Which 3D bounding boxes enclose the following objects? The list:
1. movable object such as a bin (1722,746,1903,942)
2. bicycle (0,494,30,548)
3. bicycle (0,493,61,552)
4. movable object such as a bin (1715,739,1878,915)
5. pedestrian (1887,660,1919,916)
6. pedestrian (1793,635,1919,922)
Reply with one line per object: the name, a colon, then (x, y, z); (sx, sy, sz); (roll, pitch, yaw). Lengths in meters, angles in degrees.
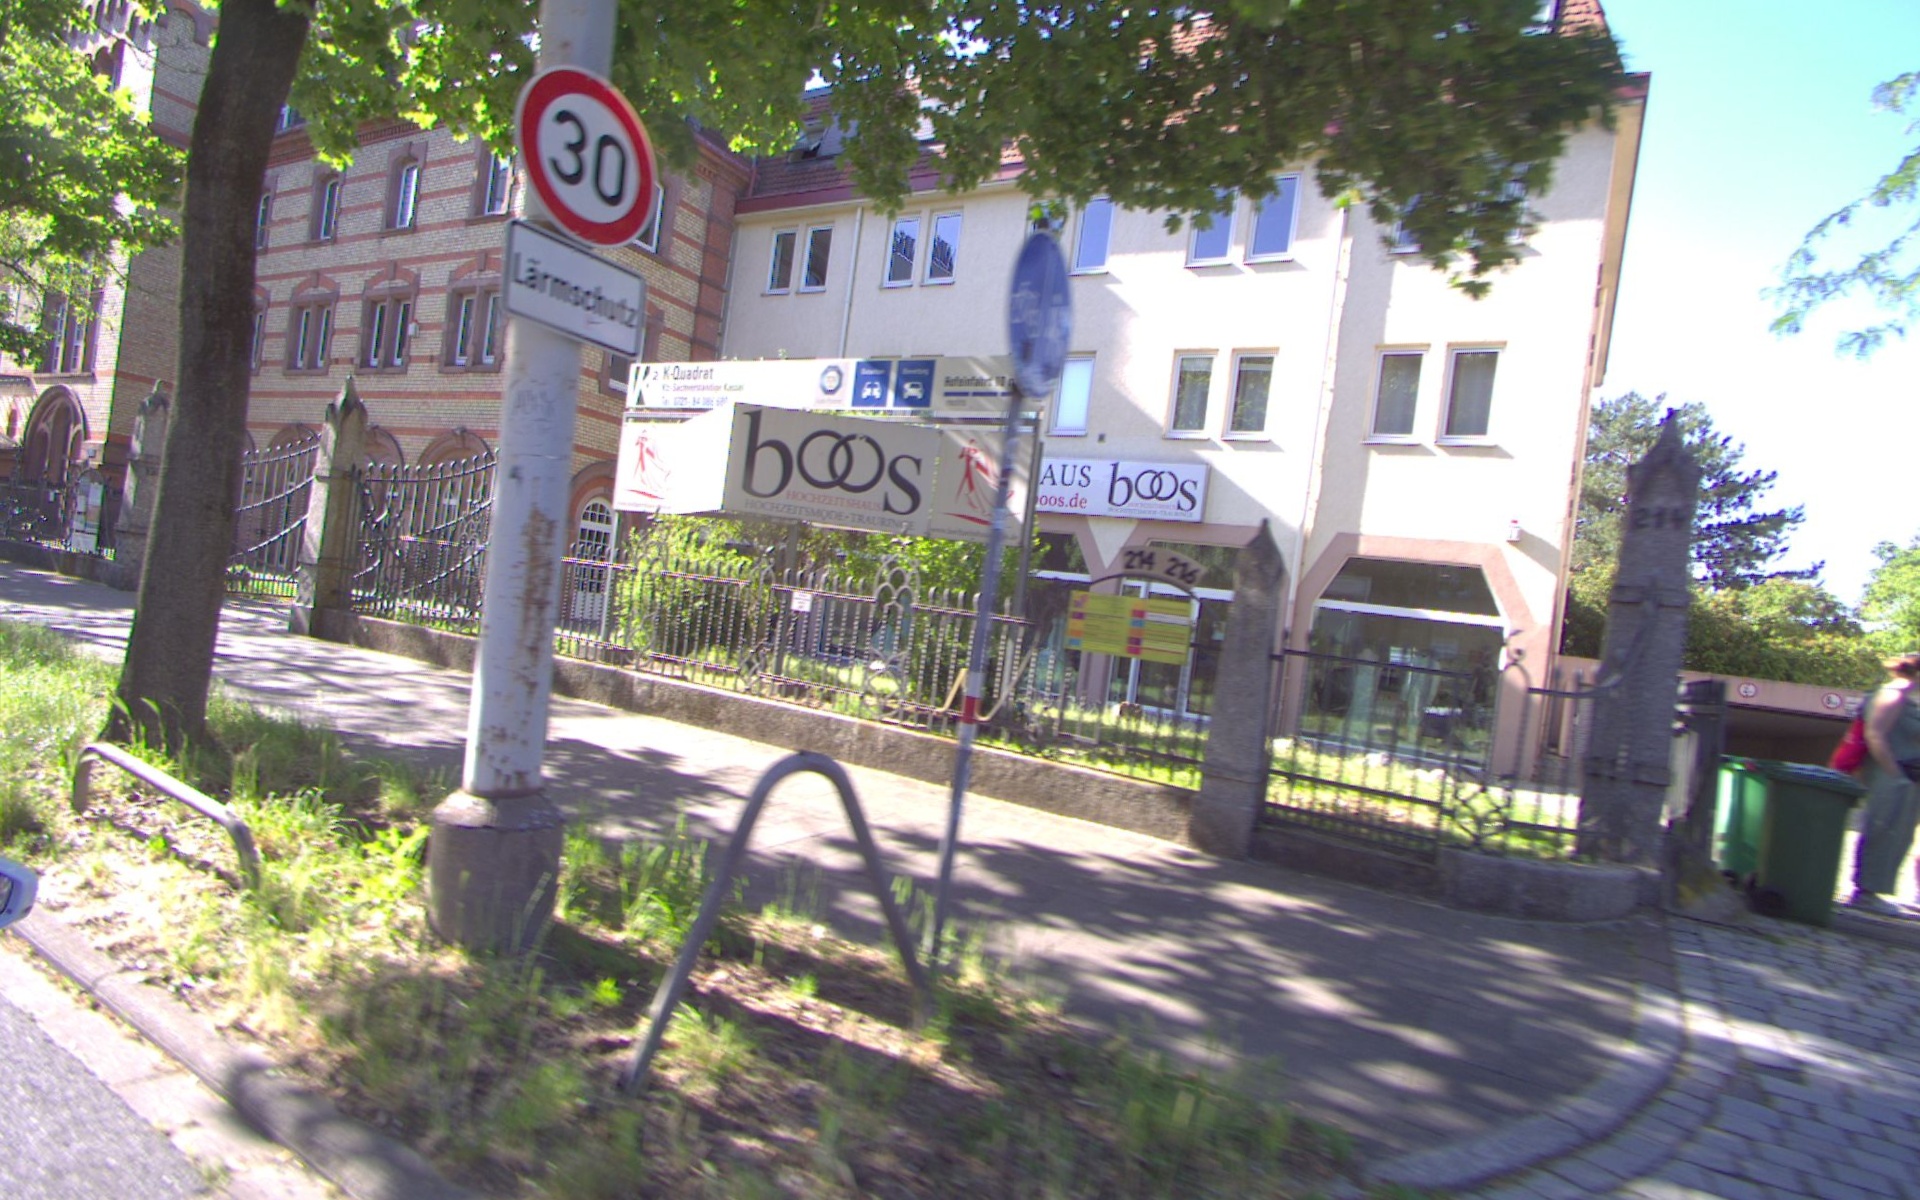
movable object such as a bin: (5.228, 1.468, 6.216); (0.656, 0.978, 0.625); (7, 2, 30)
bicycle: (-23.118, -1.970, 23.239); (0.675, 1.192, 2.203); (6, -2, 25)
bicycle: (-21.978, -1.840, 22.813); (0.675, 1.192, 2.203); (6, -2, 25)
movable object such as a bin: (5.629, 1.500, 6.812); (0.656, 0.978, 0.625); (7, 2, 30)
pedestrian: (6.848, 1.295, 6.832); (0.506, 1.730, 0.539); (7, 1, 25)
pedestrian: (6.174, 1.171, 6.731); (0.533, 1.800, 0.532); (7, 1, -6)
